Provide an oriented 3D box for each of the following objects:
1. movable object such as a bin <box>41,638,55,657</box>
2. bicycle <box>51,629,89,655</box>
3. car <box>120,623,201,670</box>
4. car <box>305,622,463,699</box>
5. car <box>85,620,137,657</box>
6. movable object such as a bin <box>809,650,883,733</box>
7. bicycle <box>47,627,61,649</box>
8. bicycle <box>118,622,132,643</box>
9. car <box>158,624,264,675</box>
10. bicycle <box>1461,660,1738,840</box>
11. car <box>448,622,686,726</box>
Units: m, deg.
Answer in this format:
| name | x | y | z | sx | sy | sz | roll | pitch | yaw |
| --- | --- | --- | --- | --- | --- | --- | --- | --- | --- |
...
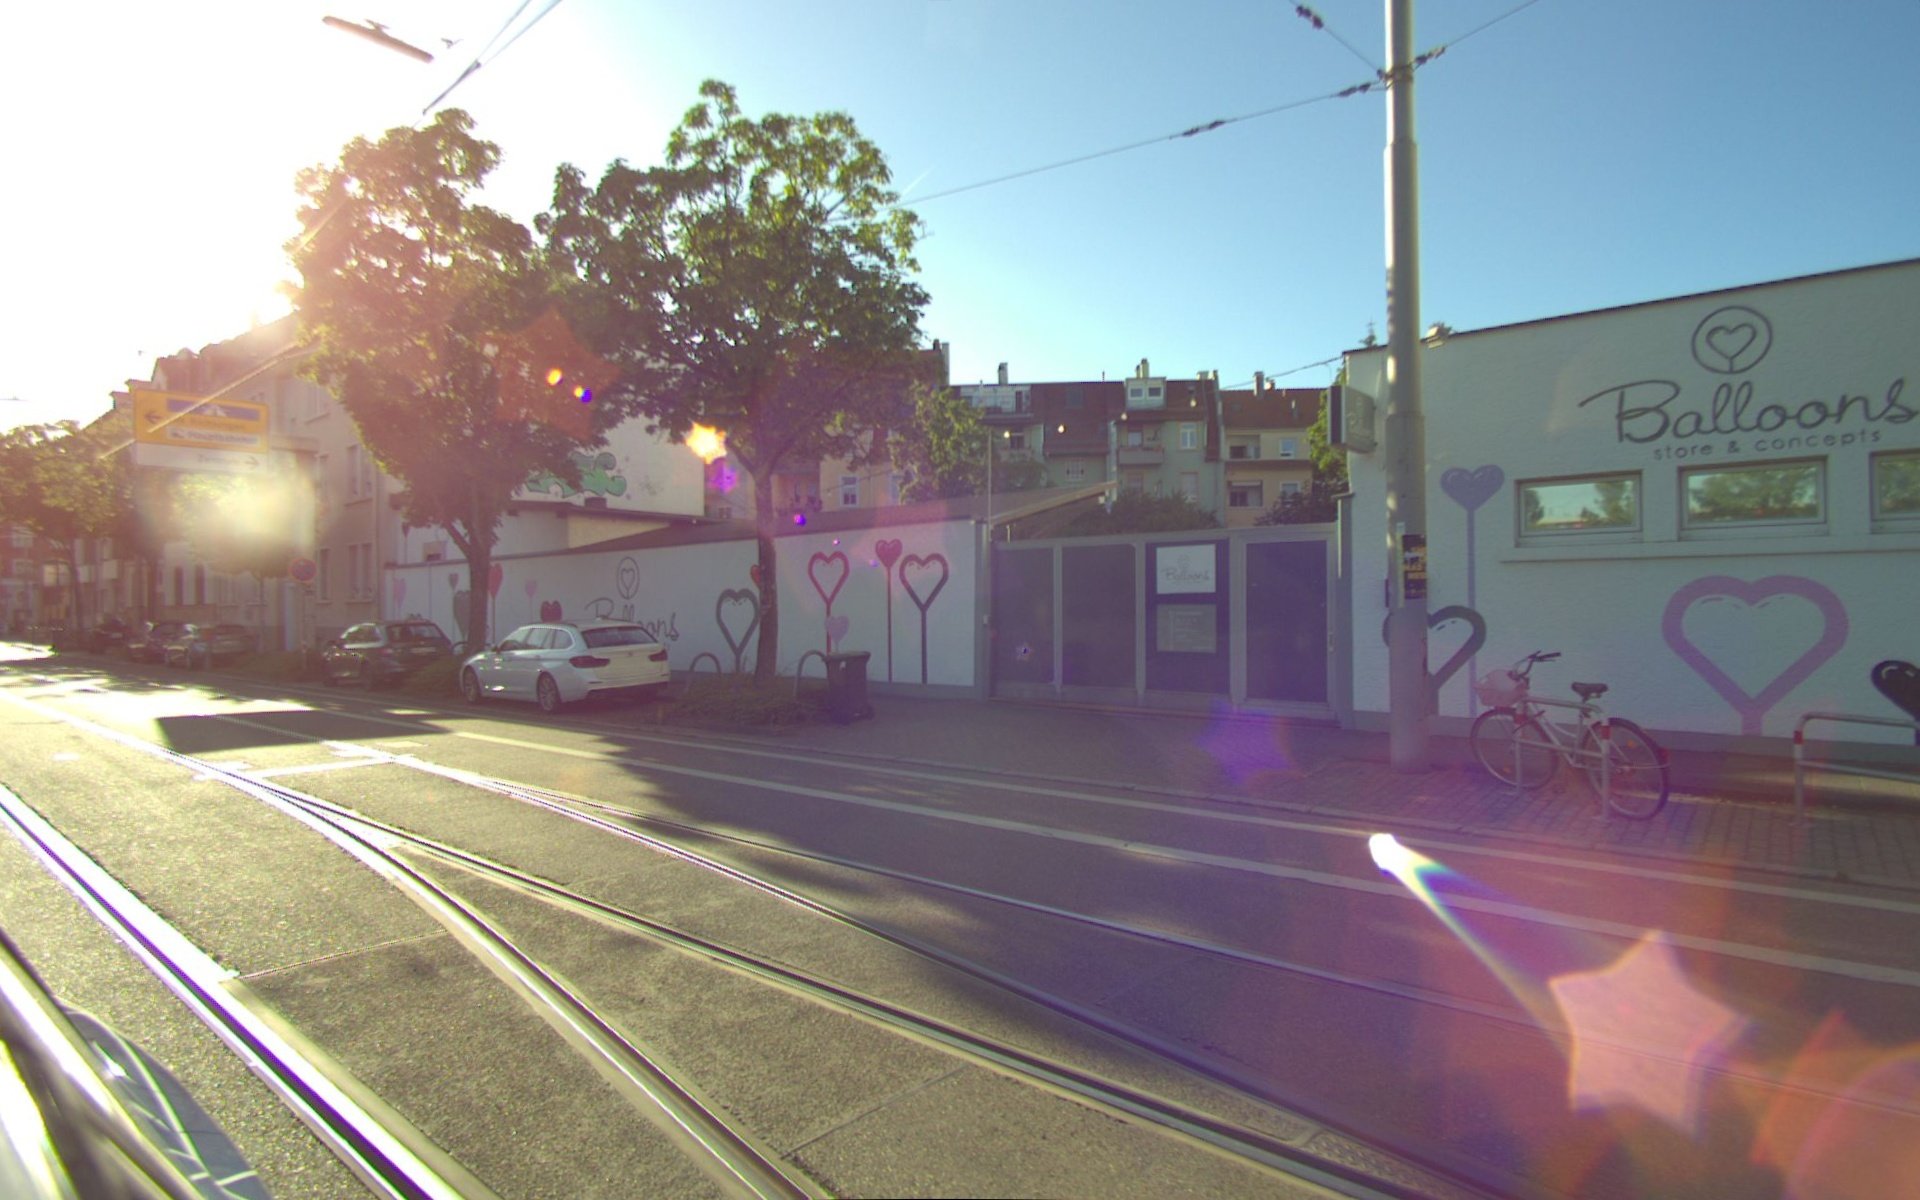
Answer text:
| name | x | y | z | sx | sy | sz | roll | pitch | yaw |
| --- | --- | --- | --- | --- | --- | --- | --- | --- | --- |
| movable object such as a bin | -45.330 | 2.360 | 50.291 | 0.582 | 0.942 | 0.420 | -1 | 0 | 41 |
| bicycle | -42.867 | 2.030 | 48.750 | 0.409 | 1.178 | 1.327 | -1 | 0 | 41 |
| car | -28.834 | 1.632 | 36.461 | 3.998 | 1.516 | 1.556 | -1 | 0 | 41 |
| car | -12.986 | 1.279 | 22.724 | 4.303 | 1.497 | 1.754 | -1 | 0 | 41 |
| car | -37.080 | 1.689 | 44.202 | 2.545 | 1.514 | 1.341 | -5 | -2 | 41 |
| movable object such as a bin | -1.482 | 1.169 | 13.150 | 0.702 | 0.966 | 0.576 | -1 | 4 | 41 |
| bicycle | -44.346 | 1.857 | 49.550 | 1.661 | 1.050 | 0.300 | -1 | 0 | 41 |
| bicycle | -43.739 | 1.702 | 52.986 | 1.661 | 1.050 | 0.300 | -1 | 0 | 41 |
| car | -24.225 | 1.548 | 32.685 | 4.291 | 1.439 | 1.854 | -1 | 0 | 41 |
| bicycle | 4.638 | 1.031 | 7.519 | 0.658 | 1.048 | 1.791 | -1 | 0 | -12 |
| car | -6.874 | 1.153 | 17.451 | 4.658 | 1.502 | 1.845 | -1 | 0 | 41 |
